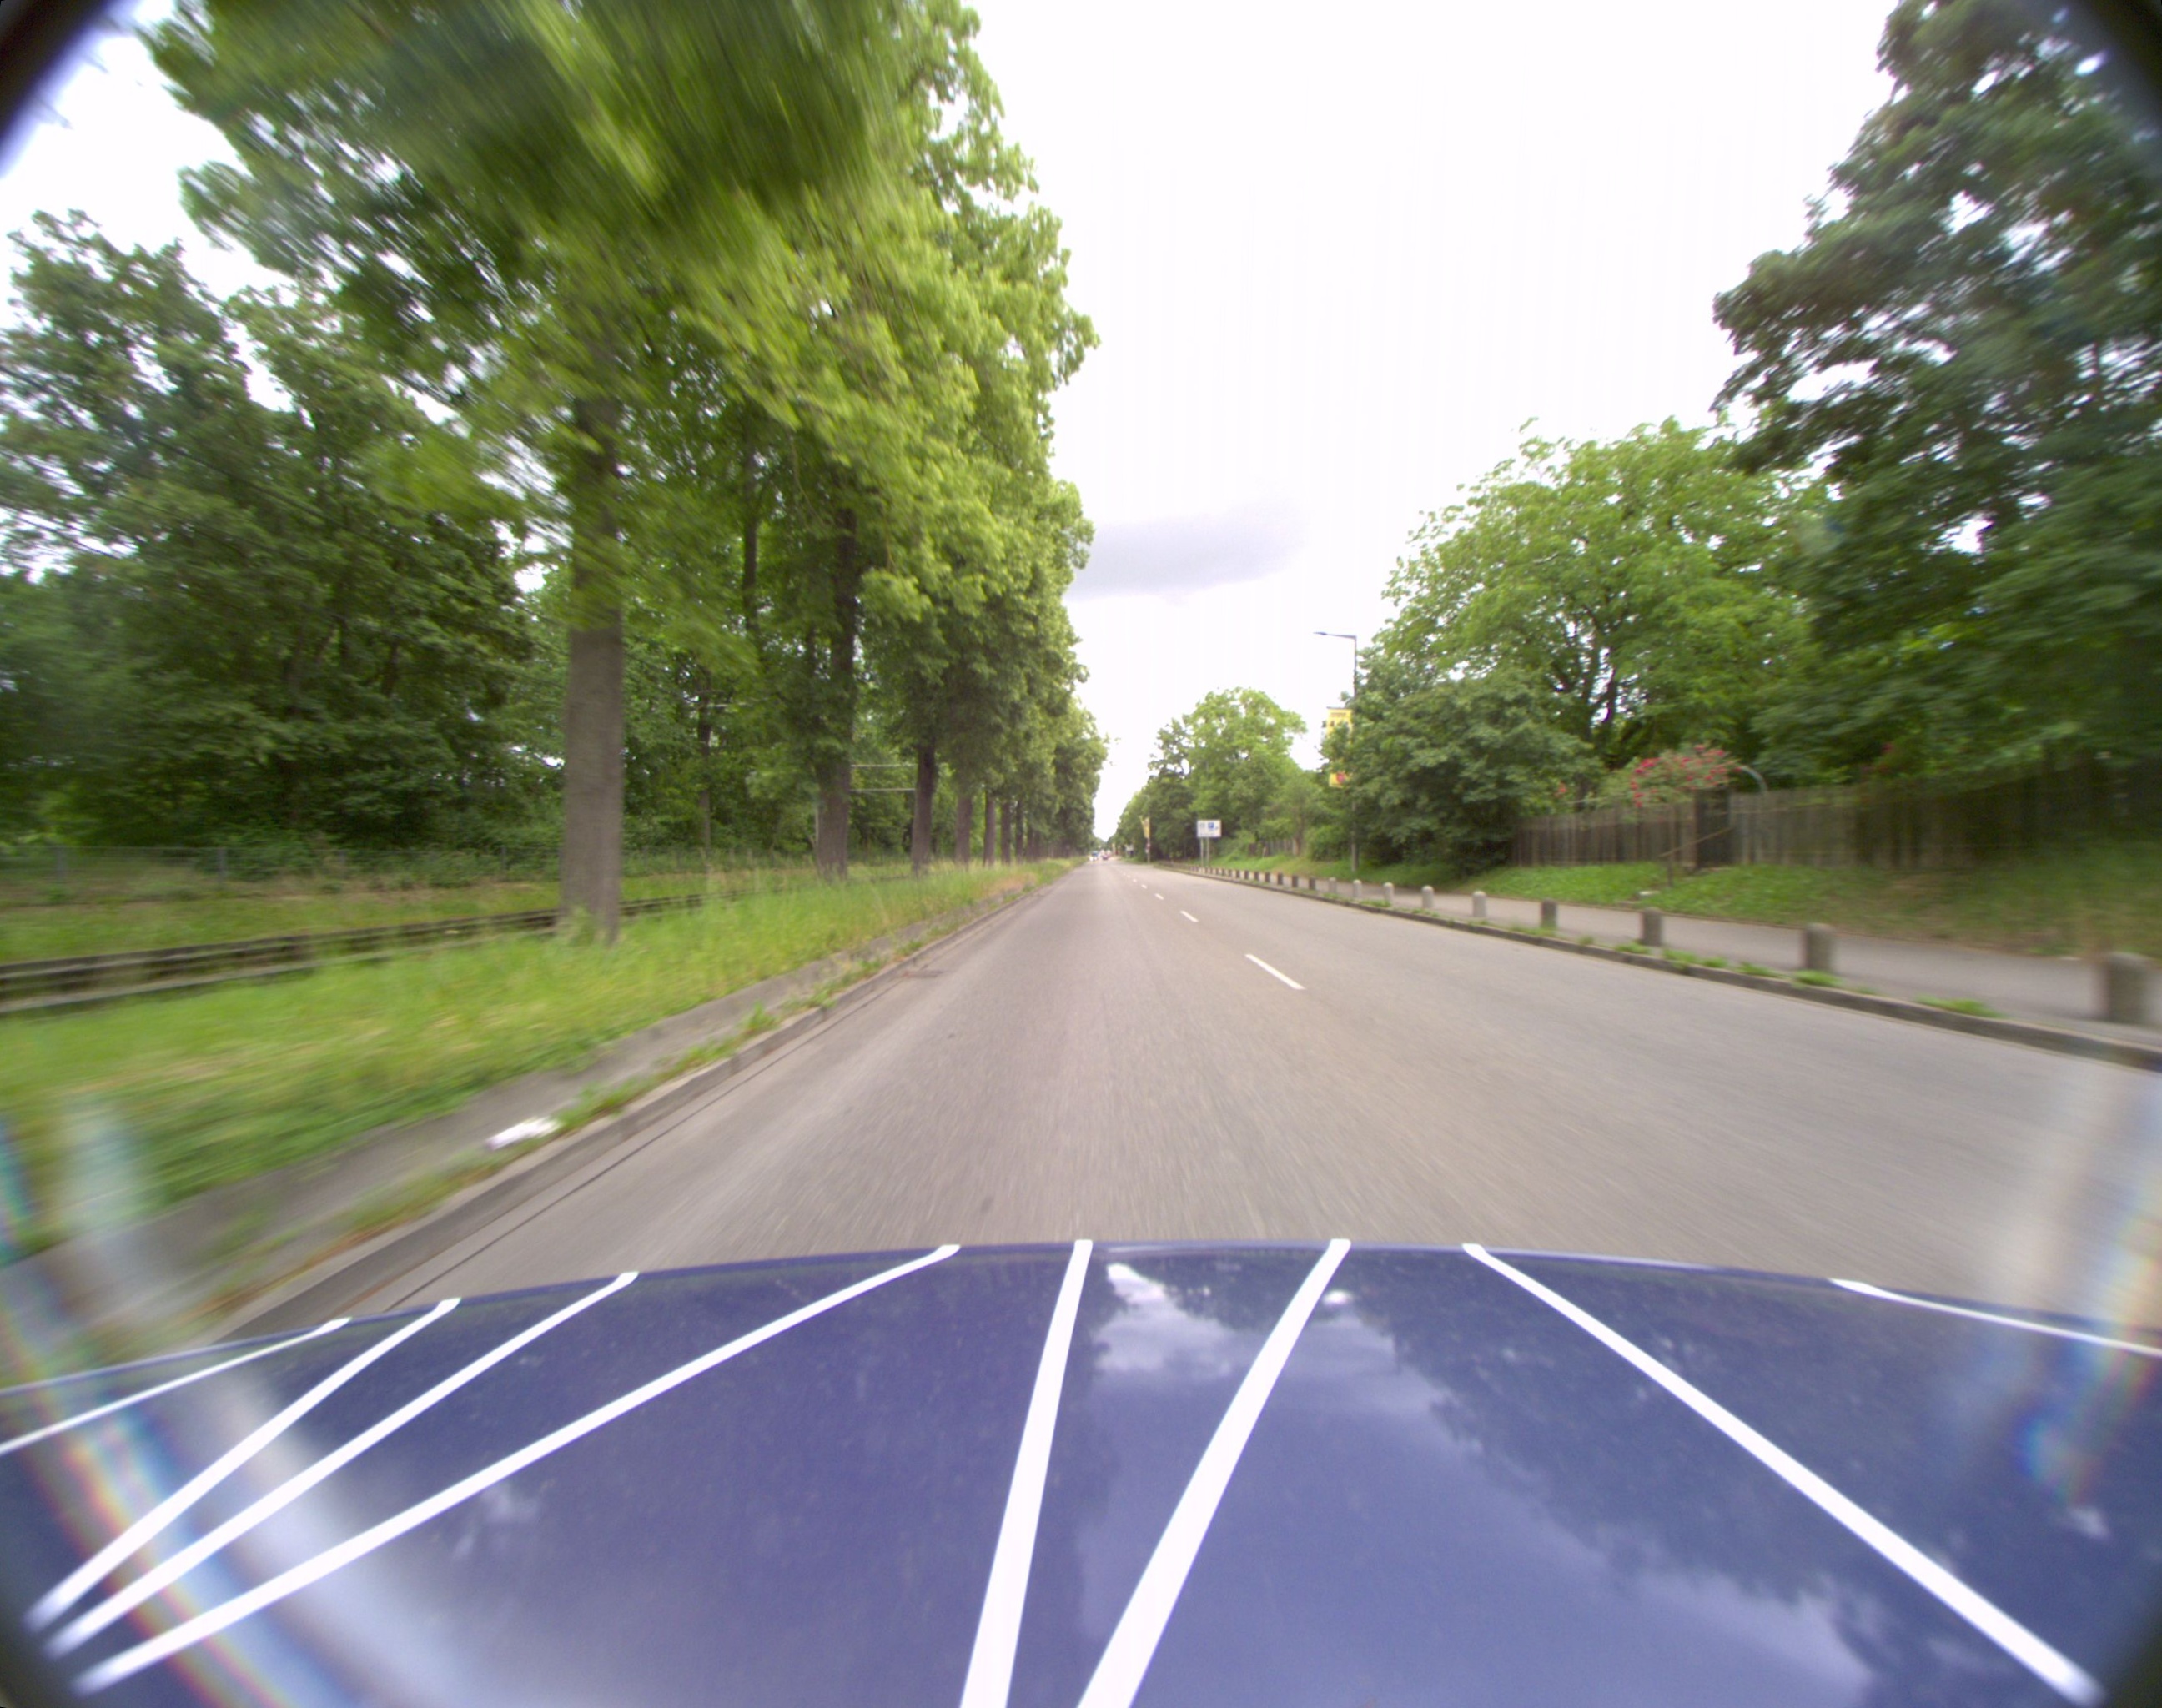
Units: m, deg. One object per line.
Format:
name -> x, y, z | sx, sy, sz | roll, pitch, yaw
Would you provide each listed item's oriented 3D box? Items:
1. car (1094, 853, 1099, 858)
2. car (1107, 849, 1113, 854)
car -> 5.124, 0.570, 250.774 | 1.762, 1.601, 4.000 | -2, 1, 1
car -> 9.821, -0.885, 255.749 | 1.762, 1.601, 4.000 | -2, 1, 1
